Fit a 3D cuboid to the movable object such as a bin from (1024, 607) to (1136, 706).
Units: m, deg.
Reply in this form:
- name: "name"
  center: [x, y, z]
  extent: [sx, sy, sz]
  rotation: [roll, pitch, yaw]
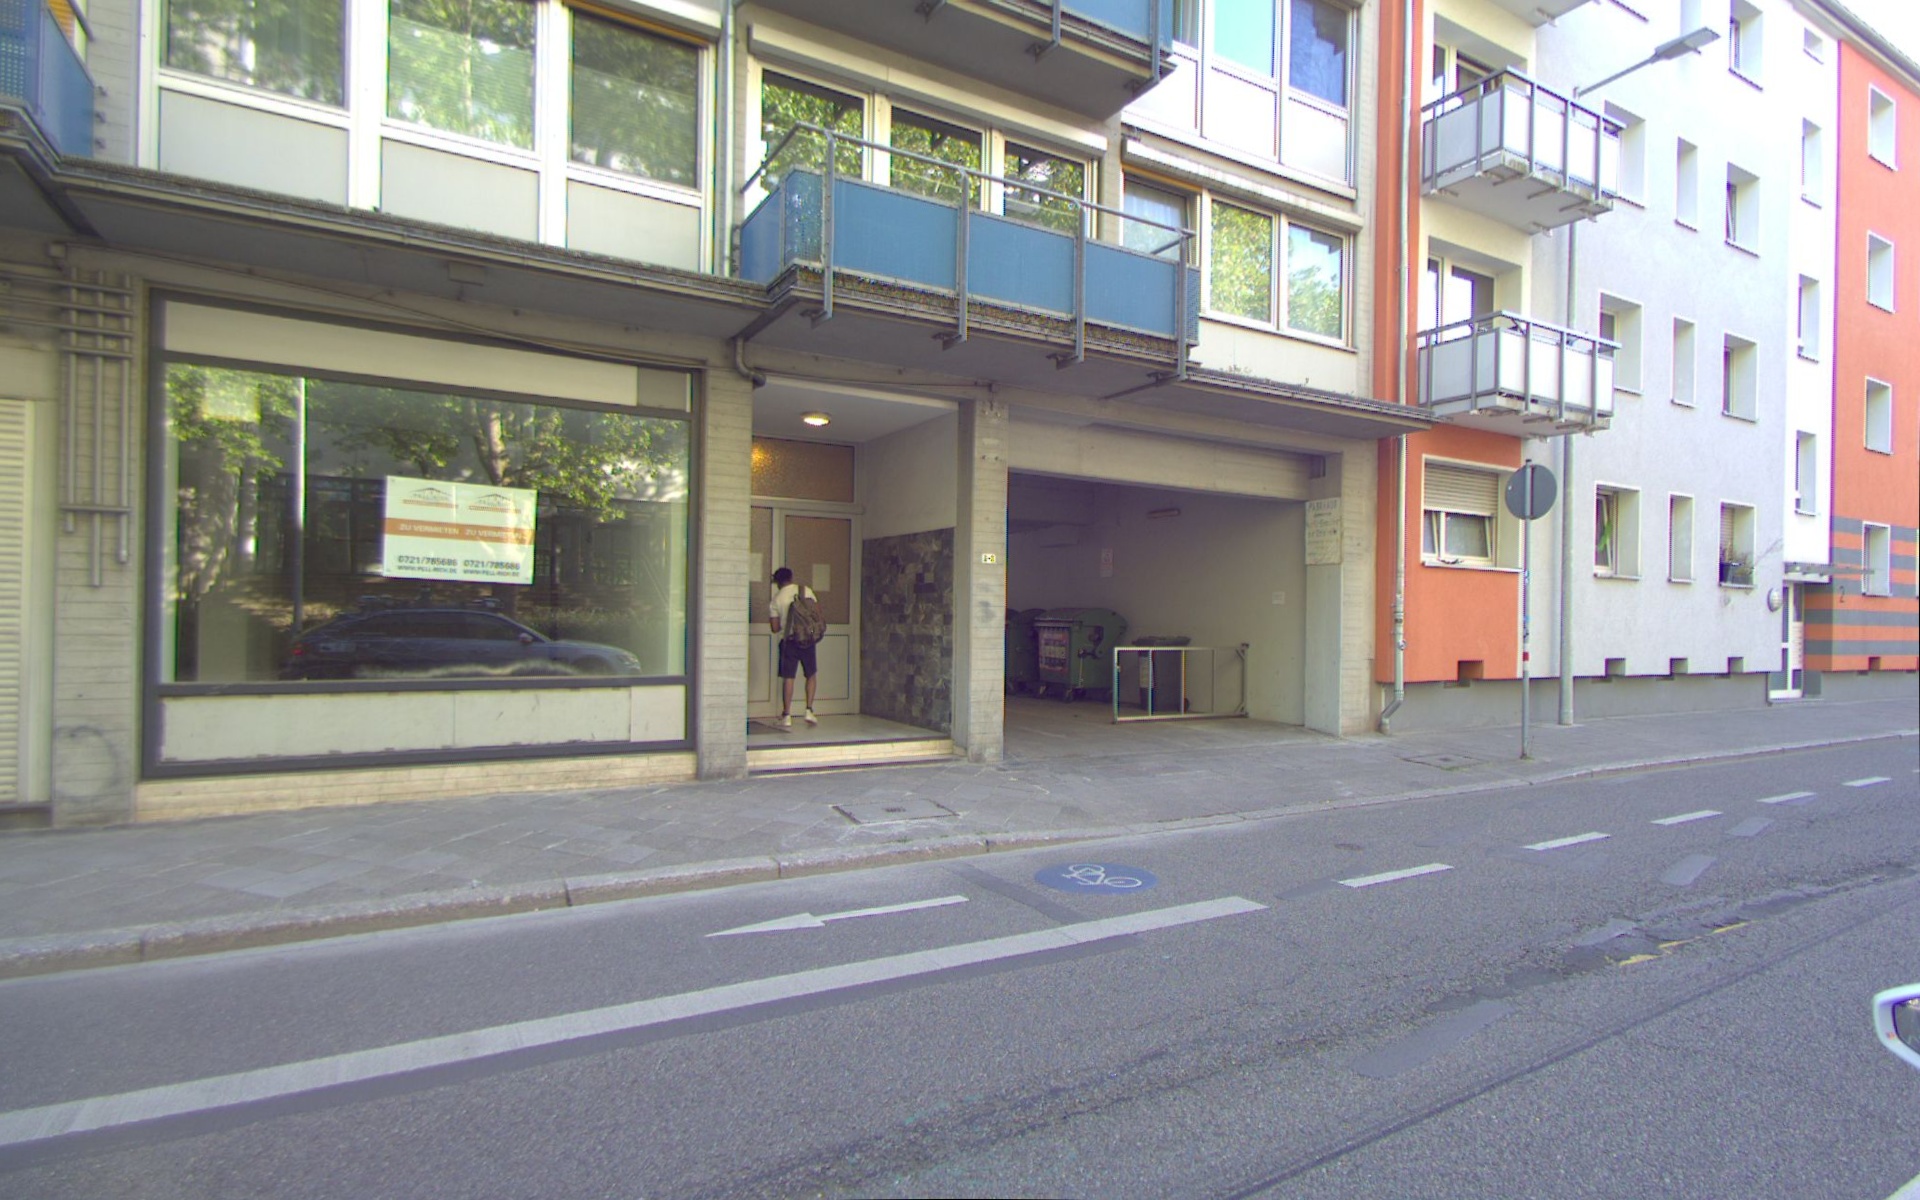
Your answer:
- name: "movable object such as a bin"
  center: [1.878, 0.863, 15.803]
  extent: [1.182, 1.452, 1.300]
  rotation: [2, 0, -30]

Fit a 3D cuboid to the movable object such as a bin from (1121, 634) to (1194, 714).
- name: "movable object such as a bin"
  center: [2.855, 1.057, 14.520]
  extent: [0.707, 1.089, 0.735]
  rotation: [2, 0, -30]

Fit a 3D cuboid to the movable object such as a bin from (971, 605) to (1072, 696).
- name: "movable object such as a bin"
  center: [1.037, 0.844, 17.190]
  extent: [1.182, 1.452, 1.300]
  rotation: [2, 0, -30]

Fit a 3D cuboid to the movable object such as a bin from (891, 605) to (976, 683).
- name: "movable object such as a bin"
  center: [-0.543, 0.854, 19.928]
  extent: [1.182, 1.452, 1.300]
  rotation: [2, 0, -30]

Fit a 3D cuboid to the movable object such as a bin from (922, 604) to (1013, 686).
- name: "movable object such as a bin"
  center: [0.124, 0.824, 18.764]
  extent: [1.182, 1.452, 1.300]
  rotation: [2, 0, -30]

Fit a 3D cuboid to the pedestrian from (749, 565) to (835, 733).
- name: "pedestrian"
  center: [-1.704, 0.477, 10.147]
  extent: [0.559, 1.606, 0.918]
  rotation: [1, 0, -30]
